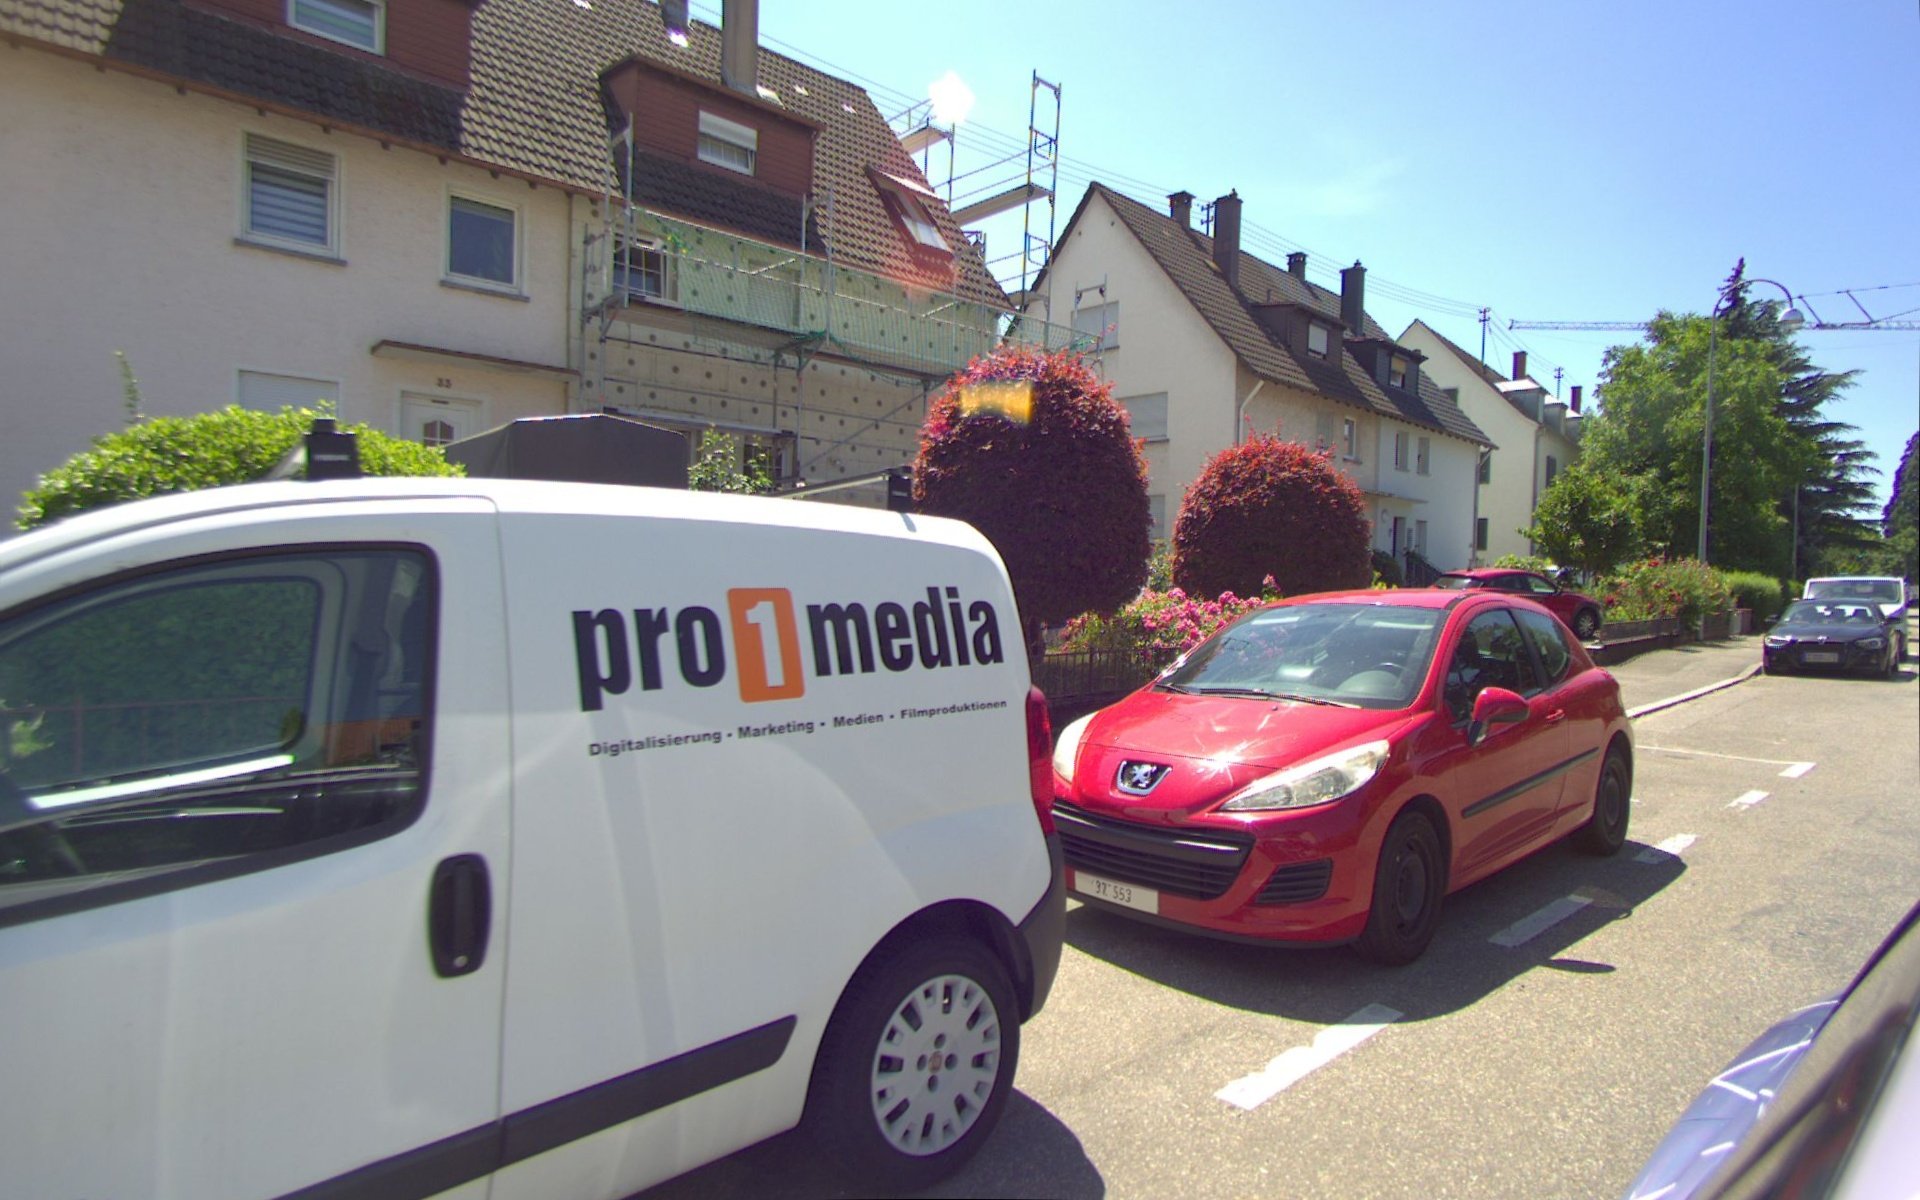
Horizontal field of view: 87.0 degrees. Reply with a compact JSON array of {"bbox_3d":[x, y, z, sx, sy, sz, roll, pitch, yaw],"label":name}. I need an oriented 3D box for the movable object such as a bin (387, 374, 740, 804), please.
[{"bbox_3d":[-3.352,-0.104,8.293,1.678,2.781,3.149,0,1,-42],"label":"movable object such as a bin"}]

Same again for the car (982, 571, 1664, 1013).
[{"bbox_3d":[2.121,0.625,5.302,3.930,1.473,1.666,0,0,-41],"label":"car"}]

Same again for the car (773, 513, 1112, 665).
[{"bbox_3d":[-0.088,-0.145,12.308,3.935,1.528,1.796,1,3,-45],"label":"car"}]

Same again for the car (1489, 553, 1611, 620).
[{"bbox_3d":[18.702,-0.399,32.007,4.318,1.879,1.750,2,3,-38],"label":"car"}]

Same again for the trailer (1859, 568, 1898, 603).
[{"bbox_3d":[57.222,-0.923,63.087,1.678,2.093,3.655,0,2,40],"label":"trailer"}]

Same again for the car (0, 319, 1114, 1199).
[{"bbox_3d":[-1.619,0.509,2.178,3.930,1.777,1.667,-1,0,-40],"label":"car"}]

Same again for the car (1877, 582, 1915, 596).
[{"bbox_3d":[97.387,-1.172,105.310,1.855,1.400,4.556,3,2,30],"label":"car"}]

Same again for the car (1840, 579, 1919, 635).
[{"bbox_3d":[30.863,0.181,33.916,1.903,1.750,4.323,0,0,44],"label":"car"}]

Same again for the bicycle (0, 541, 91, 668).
[{"bbox_3d":[-8.928,0.043,8.895,1.911,1.121,0.455,-2,4,-39],"label":"bicycle"}]

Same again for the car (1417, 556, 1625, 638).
[{"bbox_3d":[12.360,-0.127,22.341,3.966,1.552,1.750,-2,5,-19],"label":"car"}]

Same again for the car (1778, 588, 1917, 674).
[{"bbox_3d":[16.523,0.498,18.778,3.935,1.415,1.657,0,1,-45],"label":"car"}]

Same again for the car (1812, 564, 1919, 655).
[{"bbox_3d":[21.662,0.164,24.031,1.903,1.949,4.644,2,1,44],"label":"car"}]
